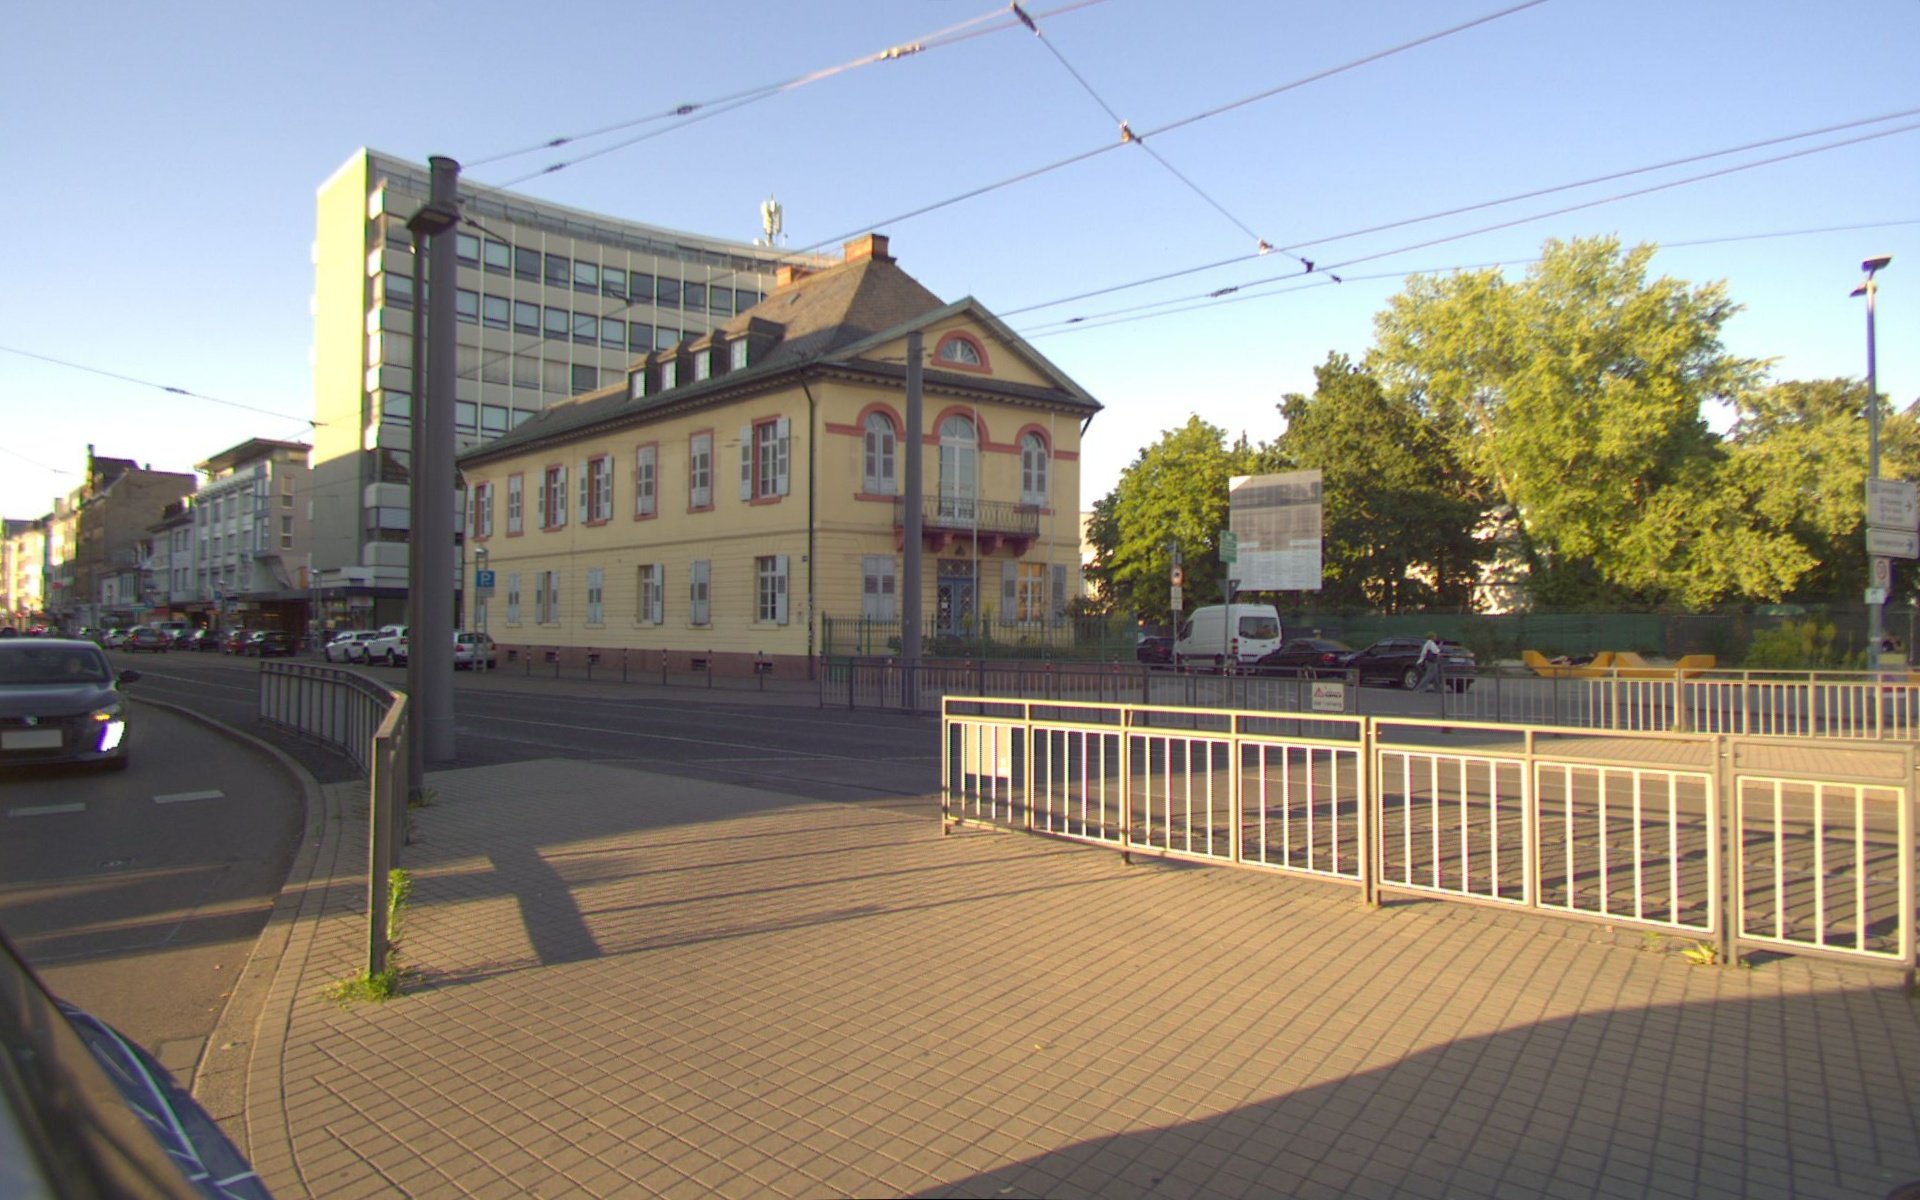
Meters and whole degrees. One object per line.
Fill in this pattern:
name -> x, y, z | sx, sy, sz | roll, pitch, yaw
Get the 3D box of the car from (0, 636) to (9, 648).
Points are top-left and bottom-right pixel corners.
car -> -122.155, 5.317, 128.303 | 3.999, 1.564, 1.972 | -2, -3, 42

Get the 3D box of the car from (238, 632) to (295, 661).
car -> -38.224, 2.562, 55.746 | 4.214, 1.523, 1.667 | -2, -2, 43

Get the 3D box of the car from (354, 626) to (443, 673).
car -> -23.422, 2.019, 42.120 | 4.495, 1.799, 1.794 | -1, 0, 41

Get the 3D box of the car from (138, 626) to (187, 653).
car -> -59.396, 2.940, 75.352 | 5.160, 1.992, 1.935 | -2, -3, 41

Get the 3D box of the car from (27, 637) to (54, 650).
car -> -109.291, 5.183, 120.288 | 4.205, 1.564, 1.972 | -2, -3, 42

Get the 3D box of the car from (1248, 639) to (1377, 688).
car -> 11.487, 2.034, 33.298 | 1.966, 1.497, 4.105 | 1, -2, -16

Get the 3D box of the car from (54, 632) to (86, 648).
car -> -89.747, 4.025, 102.056 | 4.551, 1.556, 1.888 | -2, -3, 42

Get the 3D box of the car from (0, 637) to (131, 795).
car -> -10.814, 1.217, 11.756 | 1.706, 1.533, 4.339 | 0, -2, -41

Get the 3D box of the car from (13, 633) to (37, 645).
car -> -124.882, 5.165, 135.226 | 3.999, 1.564, 1.972 | -2, -3, 42

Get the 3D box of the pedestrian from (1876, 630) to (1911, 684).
pedestrian -> 29.014, 1.761, 31.466 | 0.596, 1.671, 0.532 | -1, -2, 23

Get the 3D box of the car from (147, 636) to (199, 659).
car -> -54.247, 3.246, 69.737 | 4.556, 1.477, 1.972 | -2, -2, 41

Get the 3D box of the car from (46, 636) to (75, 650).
car -> -100.051, 4.779, 112.533 | 3.999, 1.564, 1.972 | -2, -3, 42

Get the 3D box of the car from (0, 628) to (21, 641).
car -> -115.649, 4.243, 122.972 | 3.999, 1.564, 1.972 | -2, -3, 42

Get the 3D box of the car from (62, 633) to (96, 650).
car -> -85.379, 4.023, 98.064 | 4.878, 1.556, 1.972 | -2, -2, 43

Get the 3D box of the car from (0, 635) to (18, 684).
car -> -30.896, 1.835, 31.450 | 3.999, 1.469, 1.972 | -2, -3, 42

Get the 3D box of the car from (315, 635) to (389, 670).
car -> -27.911, 2.385, 46.432 | 4.433, 1.523, 1.792 | -2, -3, 44

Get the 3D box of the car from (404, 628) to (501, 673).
car -> -19.476, 1.896, 38.777 | 4.211, 1.629, 1.794 | -2, -3, 40

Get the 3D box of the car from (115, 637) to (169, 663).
car -> -50.247, 3.032, 62.160 | 4.030, 1.523, 1.718 | -2, -3, 39

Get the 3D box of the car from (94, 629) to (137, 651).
car -> -59.186, 2.788, 70.921 | 4.035, 1.523, 1.786 | -2, -4, 44

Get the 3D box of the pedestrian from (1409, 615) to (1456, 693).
pedestrian -> 11.753, 1.341, 25.188 | 0.716, 1.907, 0.768 | 1, -2, -24

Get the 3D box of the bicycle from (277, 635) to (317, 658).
bicycle -> -42.207, 2.979, 64.477 | 0.833, 1.436, 1.948 | -2, -3, 40

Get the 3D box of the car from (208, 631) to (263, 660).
car -> -42.154, 2.642, 58.852 | 4.214, 1.523, 1.667 | -2, -7, 43

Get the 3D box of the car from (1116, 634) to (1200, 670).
car -> 8.591, 2.220, 44.287 | 1.966, 1.497, 4.105 | 1, -2, -16

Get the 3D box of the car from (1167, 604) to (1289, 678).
car -> 10.112, 1.547, 38.771 | 2.063, 2.650, 5.440 | 1, -2, -15

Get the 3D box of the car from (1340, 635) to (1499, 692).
car -> 12.921, 1.734, 28.747 | 1.966, 1.497, 4.011 | 1, -2, -16
